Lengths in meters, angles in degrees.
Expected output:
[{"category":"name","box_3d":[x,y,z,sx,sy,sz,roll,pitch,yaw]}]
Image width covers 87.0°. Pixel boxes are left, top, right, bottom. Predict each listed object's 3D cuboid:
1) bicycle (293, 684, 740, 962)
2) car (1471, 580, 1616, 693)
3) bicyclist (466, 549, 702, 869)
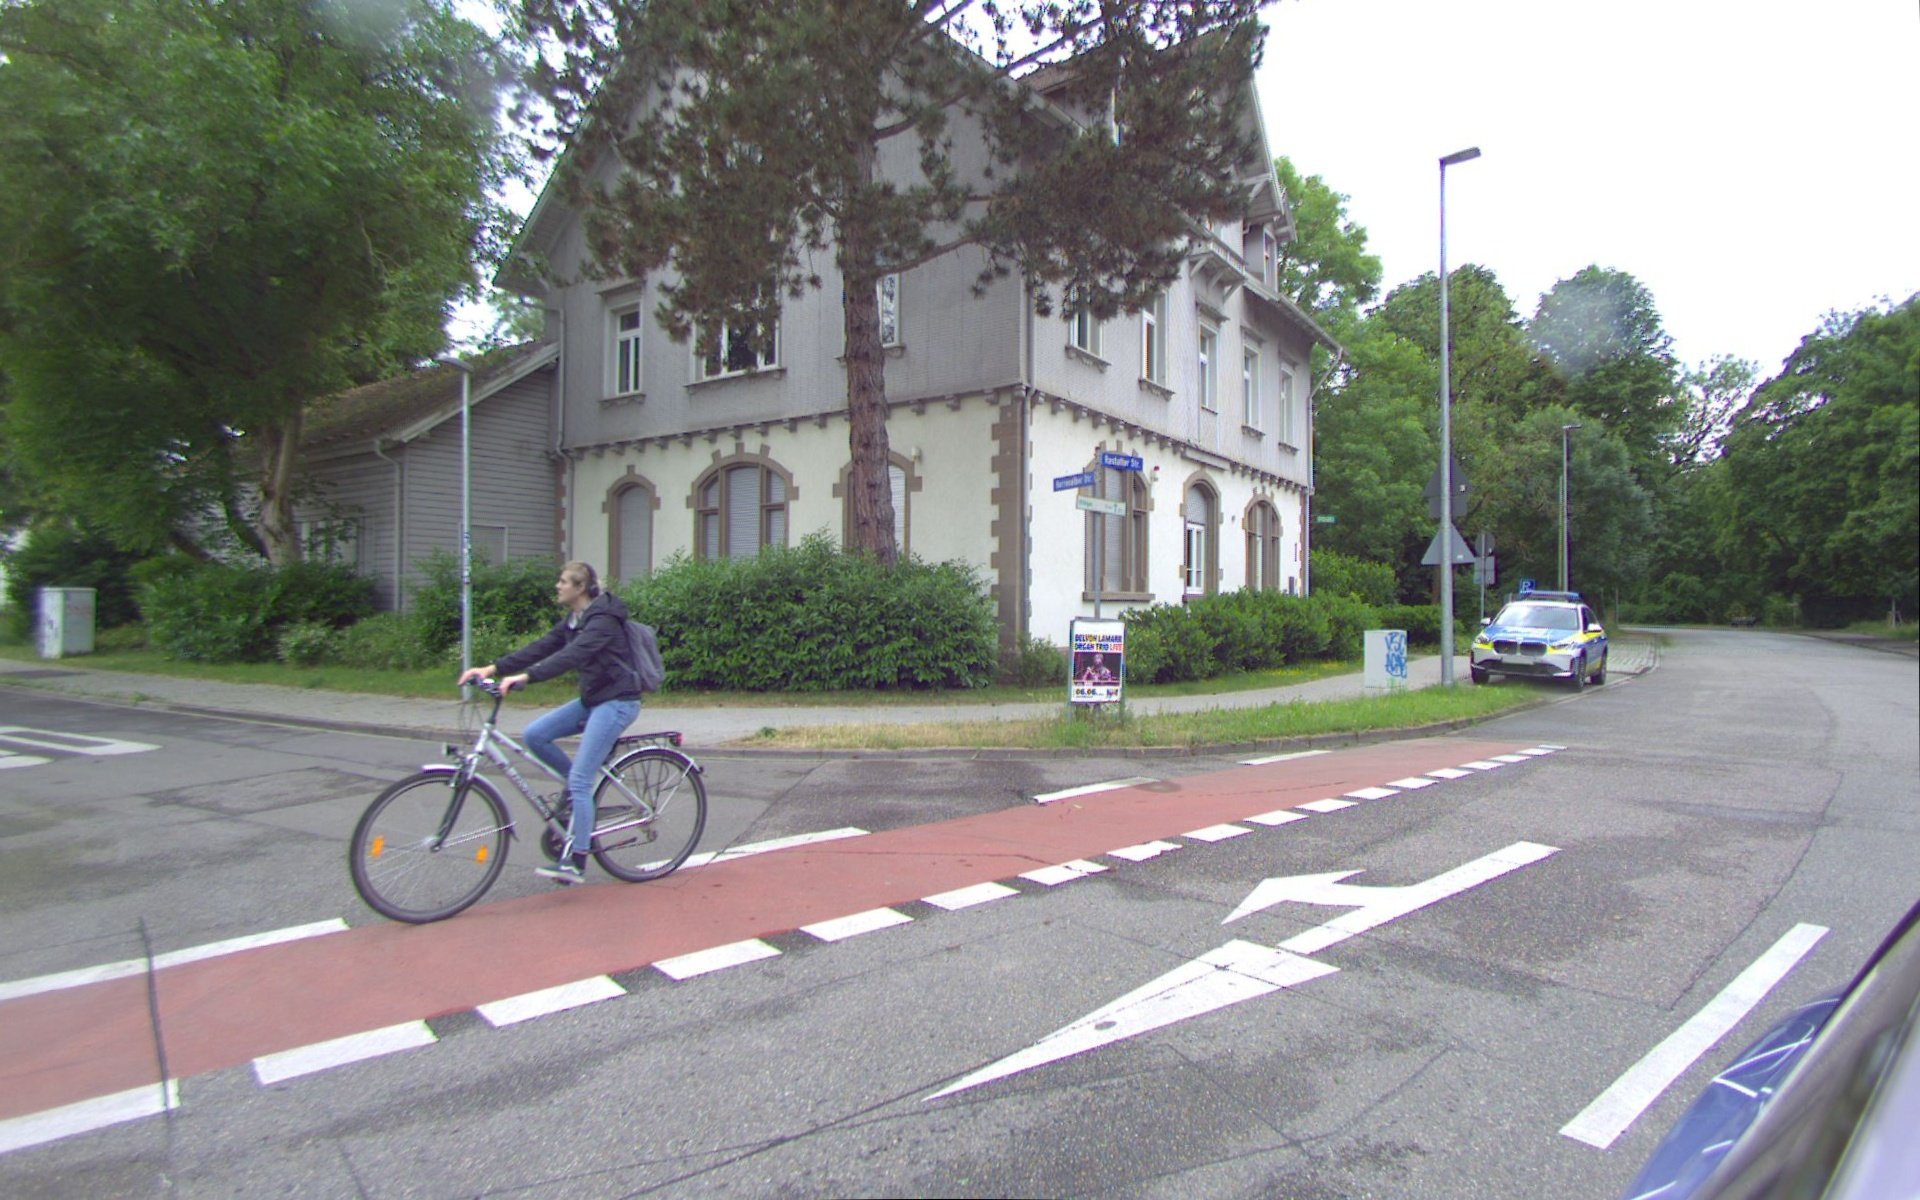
[{"category":"bicycle","box_3d":[-2.072,0.989,4.984,1.994,0.993,0.383,-1,0,-41]},{"category":"car","box_3d":[11.310,0.615,19.494,1.926,1.873,3.947,3,1,37]},{"category":"bicyclist","box_3d":[-1.907,0.507,5.143,0.945,1.443,0.622,0,-4,-41]}]
